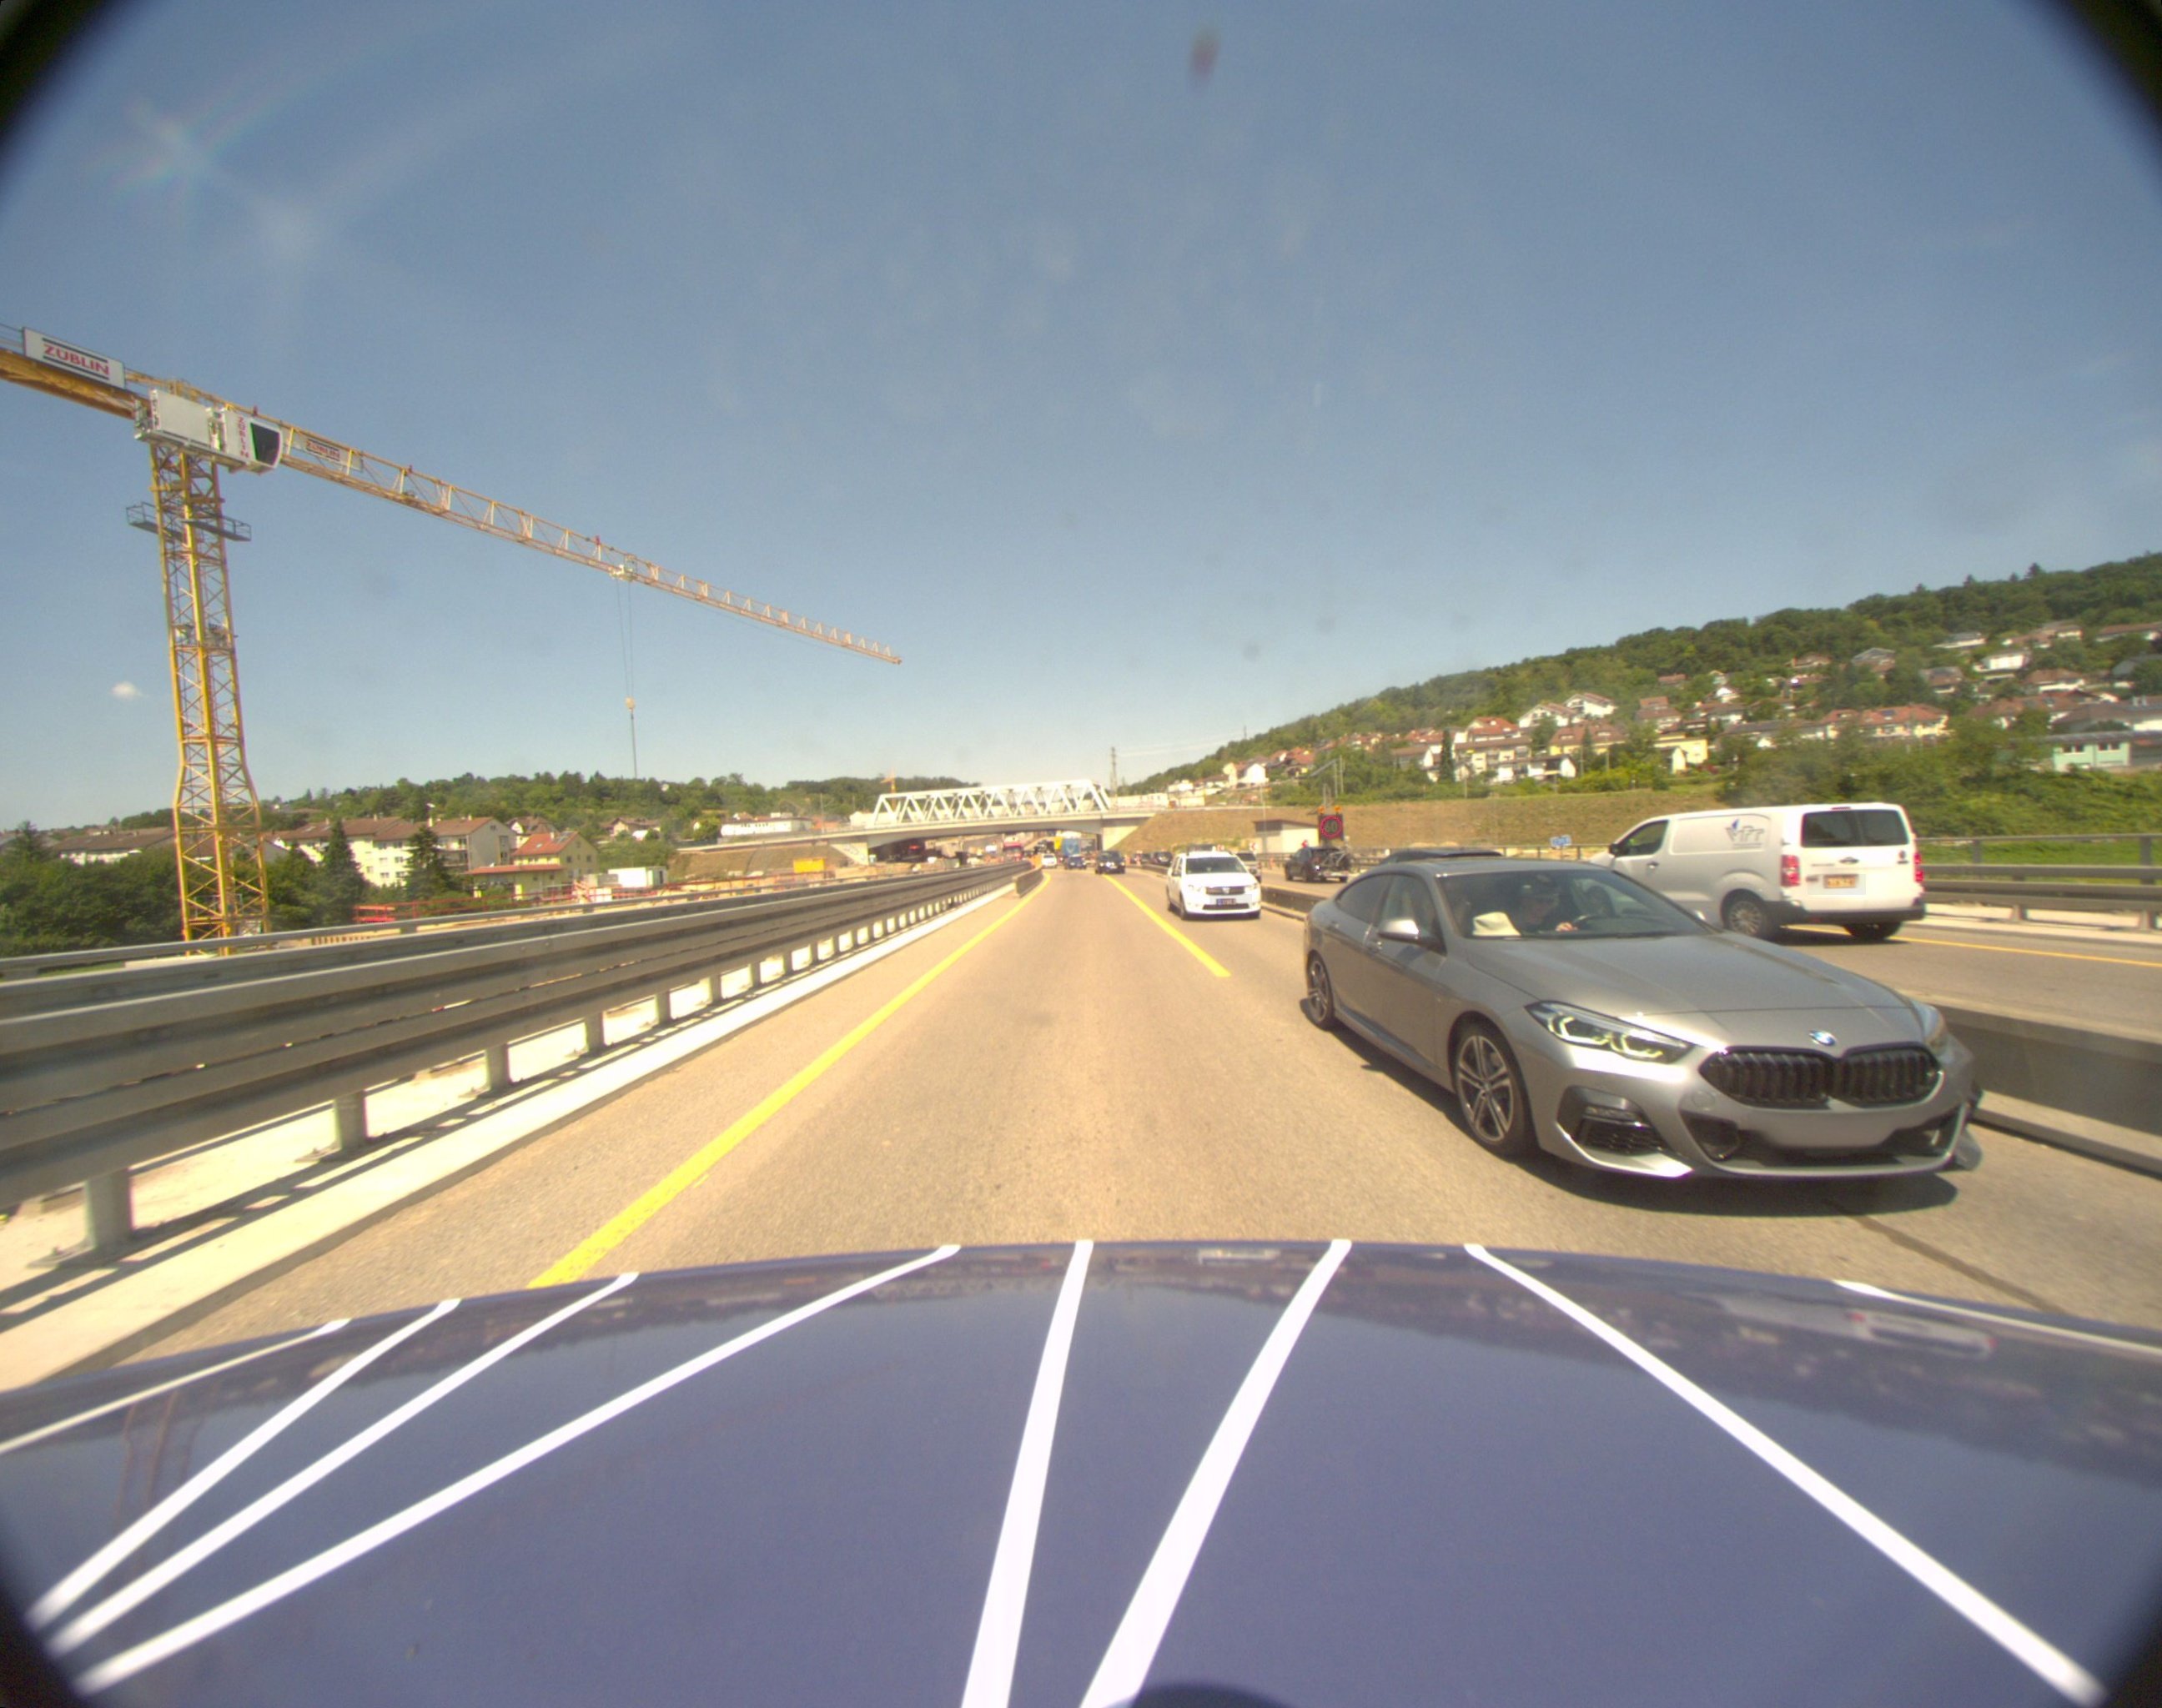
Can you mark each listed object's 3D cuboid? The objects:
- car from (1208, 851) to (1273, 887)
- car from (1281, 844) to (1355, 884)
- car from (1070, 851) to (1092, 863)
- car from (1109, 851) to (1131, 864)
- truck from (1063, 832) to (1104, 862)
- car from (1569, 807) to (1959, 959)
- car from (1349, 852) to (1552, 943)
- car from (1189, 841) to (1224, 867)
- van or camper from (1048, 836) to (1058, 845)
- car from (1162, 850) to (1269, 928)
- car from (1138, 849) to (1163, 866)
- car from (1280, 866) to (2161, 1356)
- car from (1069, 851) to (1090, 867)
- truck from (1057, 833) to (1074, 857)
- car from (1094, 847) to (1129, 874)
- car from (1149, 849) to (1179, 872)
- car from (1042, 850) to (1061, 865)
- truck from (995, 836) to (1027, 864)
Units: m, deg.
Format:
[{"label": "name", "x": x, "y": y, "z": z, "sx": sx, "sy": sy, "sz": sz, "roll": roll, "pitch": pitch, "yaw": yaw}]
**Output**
[{"label": "car", "x": 6.648, "y": 0.584, "z": 32.183, "sx": 1.830, "sy": 1.410, "sz": 4.657, "roll": 0, "pitch": 0, "yaw": 0}, {"label": "car", "x": 10.081, "y": 0.398, "z": 32.669, "sx": 1.818, "sy": 1.560, "sz": 3.999, "roll": -1, "pitch": 0, "yaw": -2}, {"label": "car", "x": -0.077, "y": 0.388, "z": 100.725, "sx": 2.017, "sy": 1.516, "sz": 4.189, "roll": -1, "pitch": 0, "yaw": -13}, {"label": "car", "x": 4.098, "y": 0.395, "z": 80.909, "sx": 1.865, "sy": 1.314, "sz": 4.687, "roll": 0, "pitch": 0, "yaw": -3}, {"label": "truck", "x": 0.181, "y": -1.033, "z": 116.797, "sx": 3.270, "sy": 4.112, "sz": 17.316, "roll": -3, "pitch": 1, "yaw": -9}, {"label": "car", "x": 10.002, "y": 0.359, "z": 11.782, "sx": 1.864, "sy": 1.856, "sz": 4.628, "roll": -1, "pitch": 0, "yaw": -1}, {"label": "car", "x": 6.411, "y": 0.672, "z": 13.754, "sx": 1.683, "sy": 1.384, "sz": 4.155, "roll": 0, "pitch": 0, "yaw": 0}, {"label": "car", "x": 10.061, "y": 0.014, "z": 61.265, "sx": 1.928, "sy": 1.922, "sz": 4.938, "roll": -4, "pitch": 0, "yaw": 0}, {"label": "van or camper", "x": -6.844, "y": -3.304, "z": 185.353, "sx": 2.331, "sy": 2.068, "sz": 5.425, "roll": -2, "pitch": 1, "yaw": -1}, {"label": "car", "x": 3.074, "y": 0.723, "z": 18.280, "sx": 1.823, "sy": 1.521, "sz": 4.706, "roll": -2, "pitch": 1, "yaw": 2}, {"label": "car", "x": 6.098, "y": 0.293, "z": 66.846, "sx": 1.745, "sy": 1.464, "sz": 4.085, "roll": -1, "pitch": 0, "yaw": 0}, {"label": "car", "x": 2.818, "y": 0.857, "z": 4.794, "sx": 1.856, "sy": 1.443, "sz": 4.742, "roll": -1, "pitch": 0, "yaw": 0}, {"label": "car", "x": -0.152, "y": 0.512, "z": 81.526, "sx": 1.792, "sy": 1.578, "sz": 3.998, "roll": -4, "pitch": 0, "yaw": -6}, {"label": "truck", "x": -3.022, "y": -1.704, "z": 151.326, "sx": 3.173, "sy": 4.531, "sz": 12.085, "roll": 0, "pitch": 0, "yaw": 0}, {"label": "car", "x": 2.129, "y": 0.457, "z": 53.711, "sx": 1.863, "sy": 1.683, "sz": 4.096, "roll": -5, "pitch": 0, "yaw": -4}, {"label": "car", "x": 6.201, "y": 0.440, "z": 56.989, "sx": 1.745, "sy": 1.573, "sz": 4.084, "roll": -1, "pitch": 1, "yaw": 0}, {"label": "car", "x": -3.968, "y": 0.444, "z": 100.366, "sx": 1.793, "sy": 1.870, "sz": 3.996, "roll": -4, "pitch": 0, "yaw": -12}, {"label": "truck", "x": -9.977, "y": -0.580, "z": 107.709, "sx": 2.706, "sy": 3.705, "sz": 8.494, "roll": -2, "pitch": 1, "yaw": -18}]
